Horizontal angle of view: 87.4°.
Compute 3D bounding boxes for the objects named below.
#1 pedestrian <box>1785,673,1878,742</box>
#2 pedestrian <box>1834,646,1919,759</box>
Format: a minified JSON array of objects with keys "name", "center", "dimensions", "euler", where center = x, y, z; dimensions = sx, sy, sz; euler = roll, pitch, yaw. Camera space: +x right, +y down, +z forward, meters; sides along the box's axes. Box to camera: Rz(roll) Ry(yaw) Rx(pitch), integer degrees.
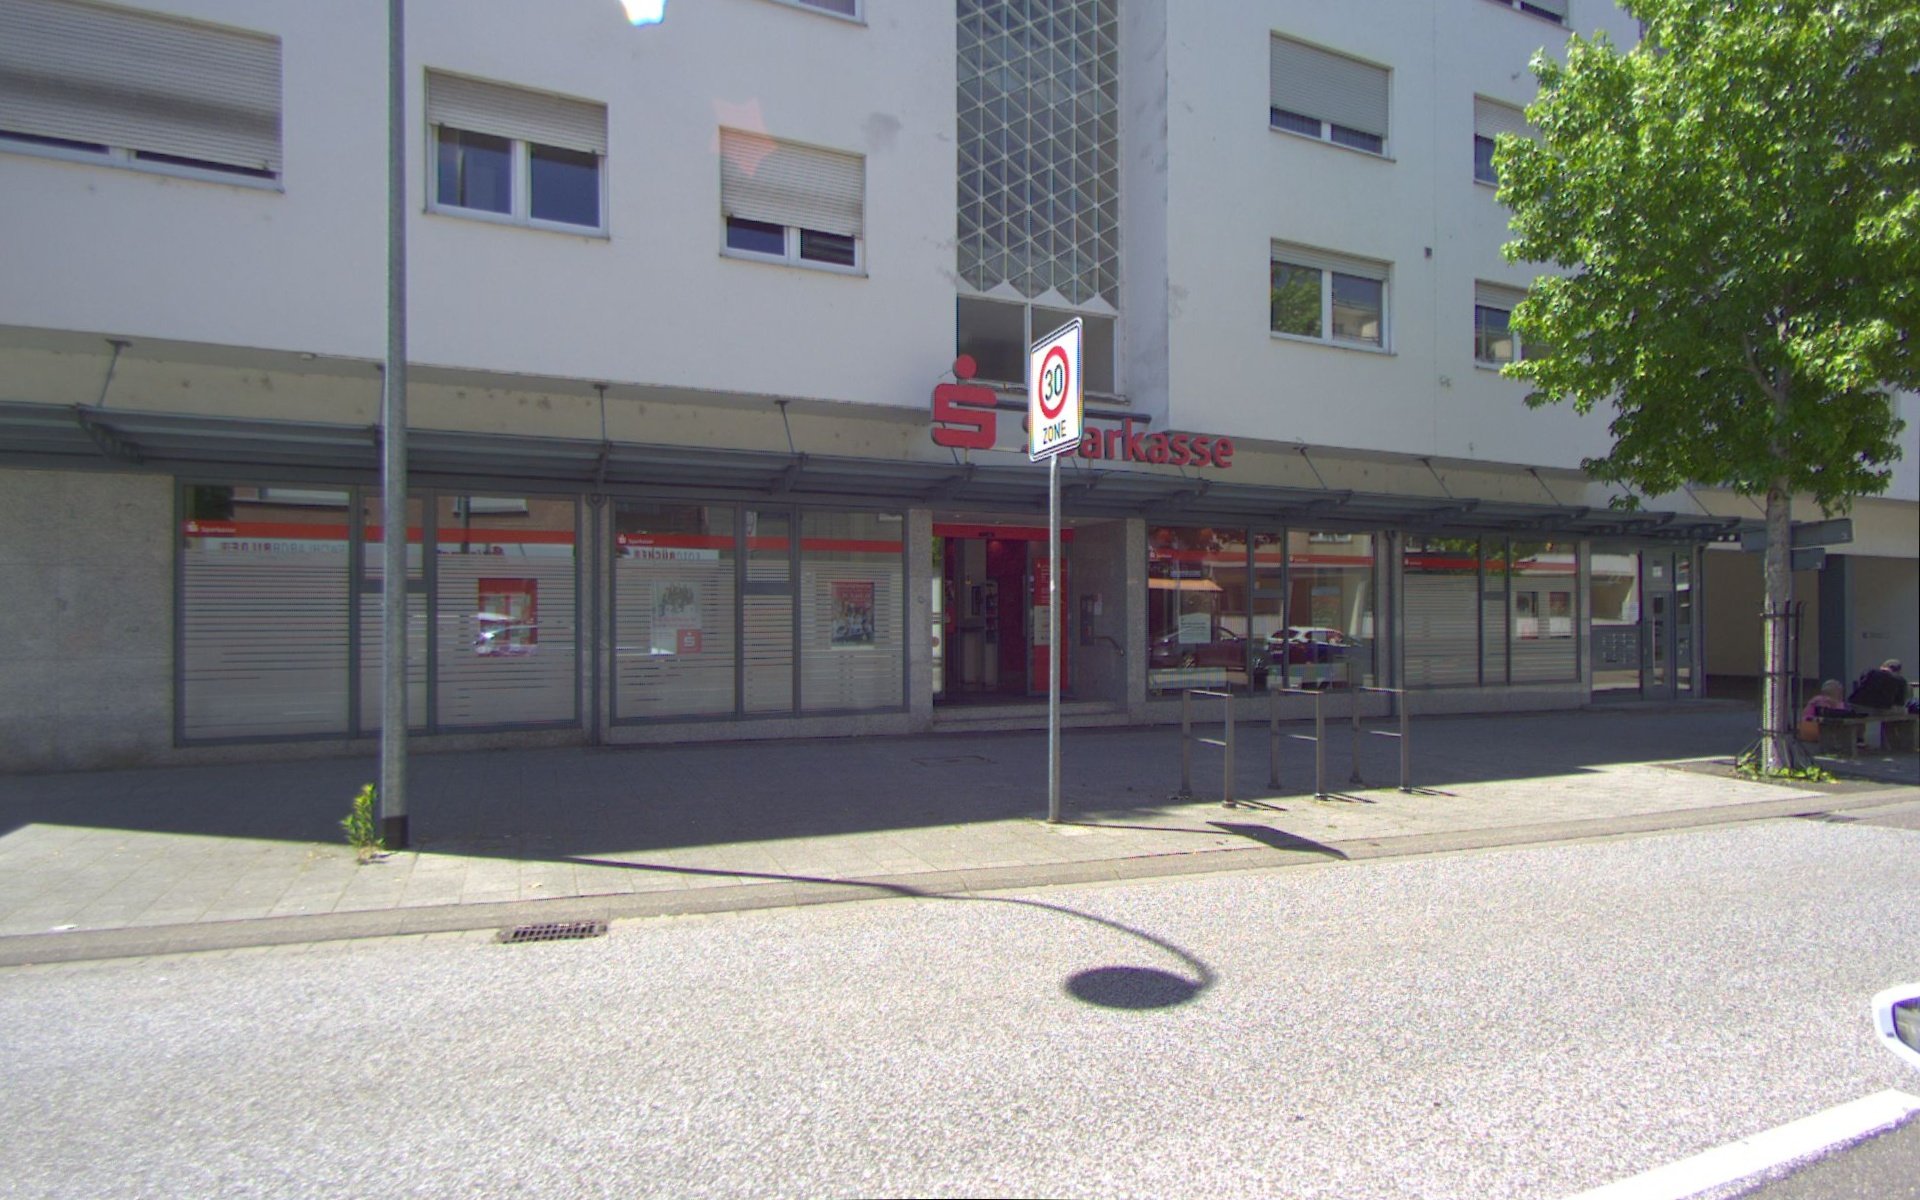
[{"name":"pedestrian","center":[12.035,1.481,13.880],"dimensions":[0.720,0.869,0.665],"euler":[4,-3,-15]},{"name":"pedestrian","center":[11.669,1.281,12.761],"dimensions":[0.655,1.390,0.568],"euler":[1,-2,-15]}]
